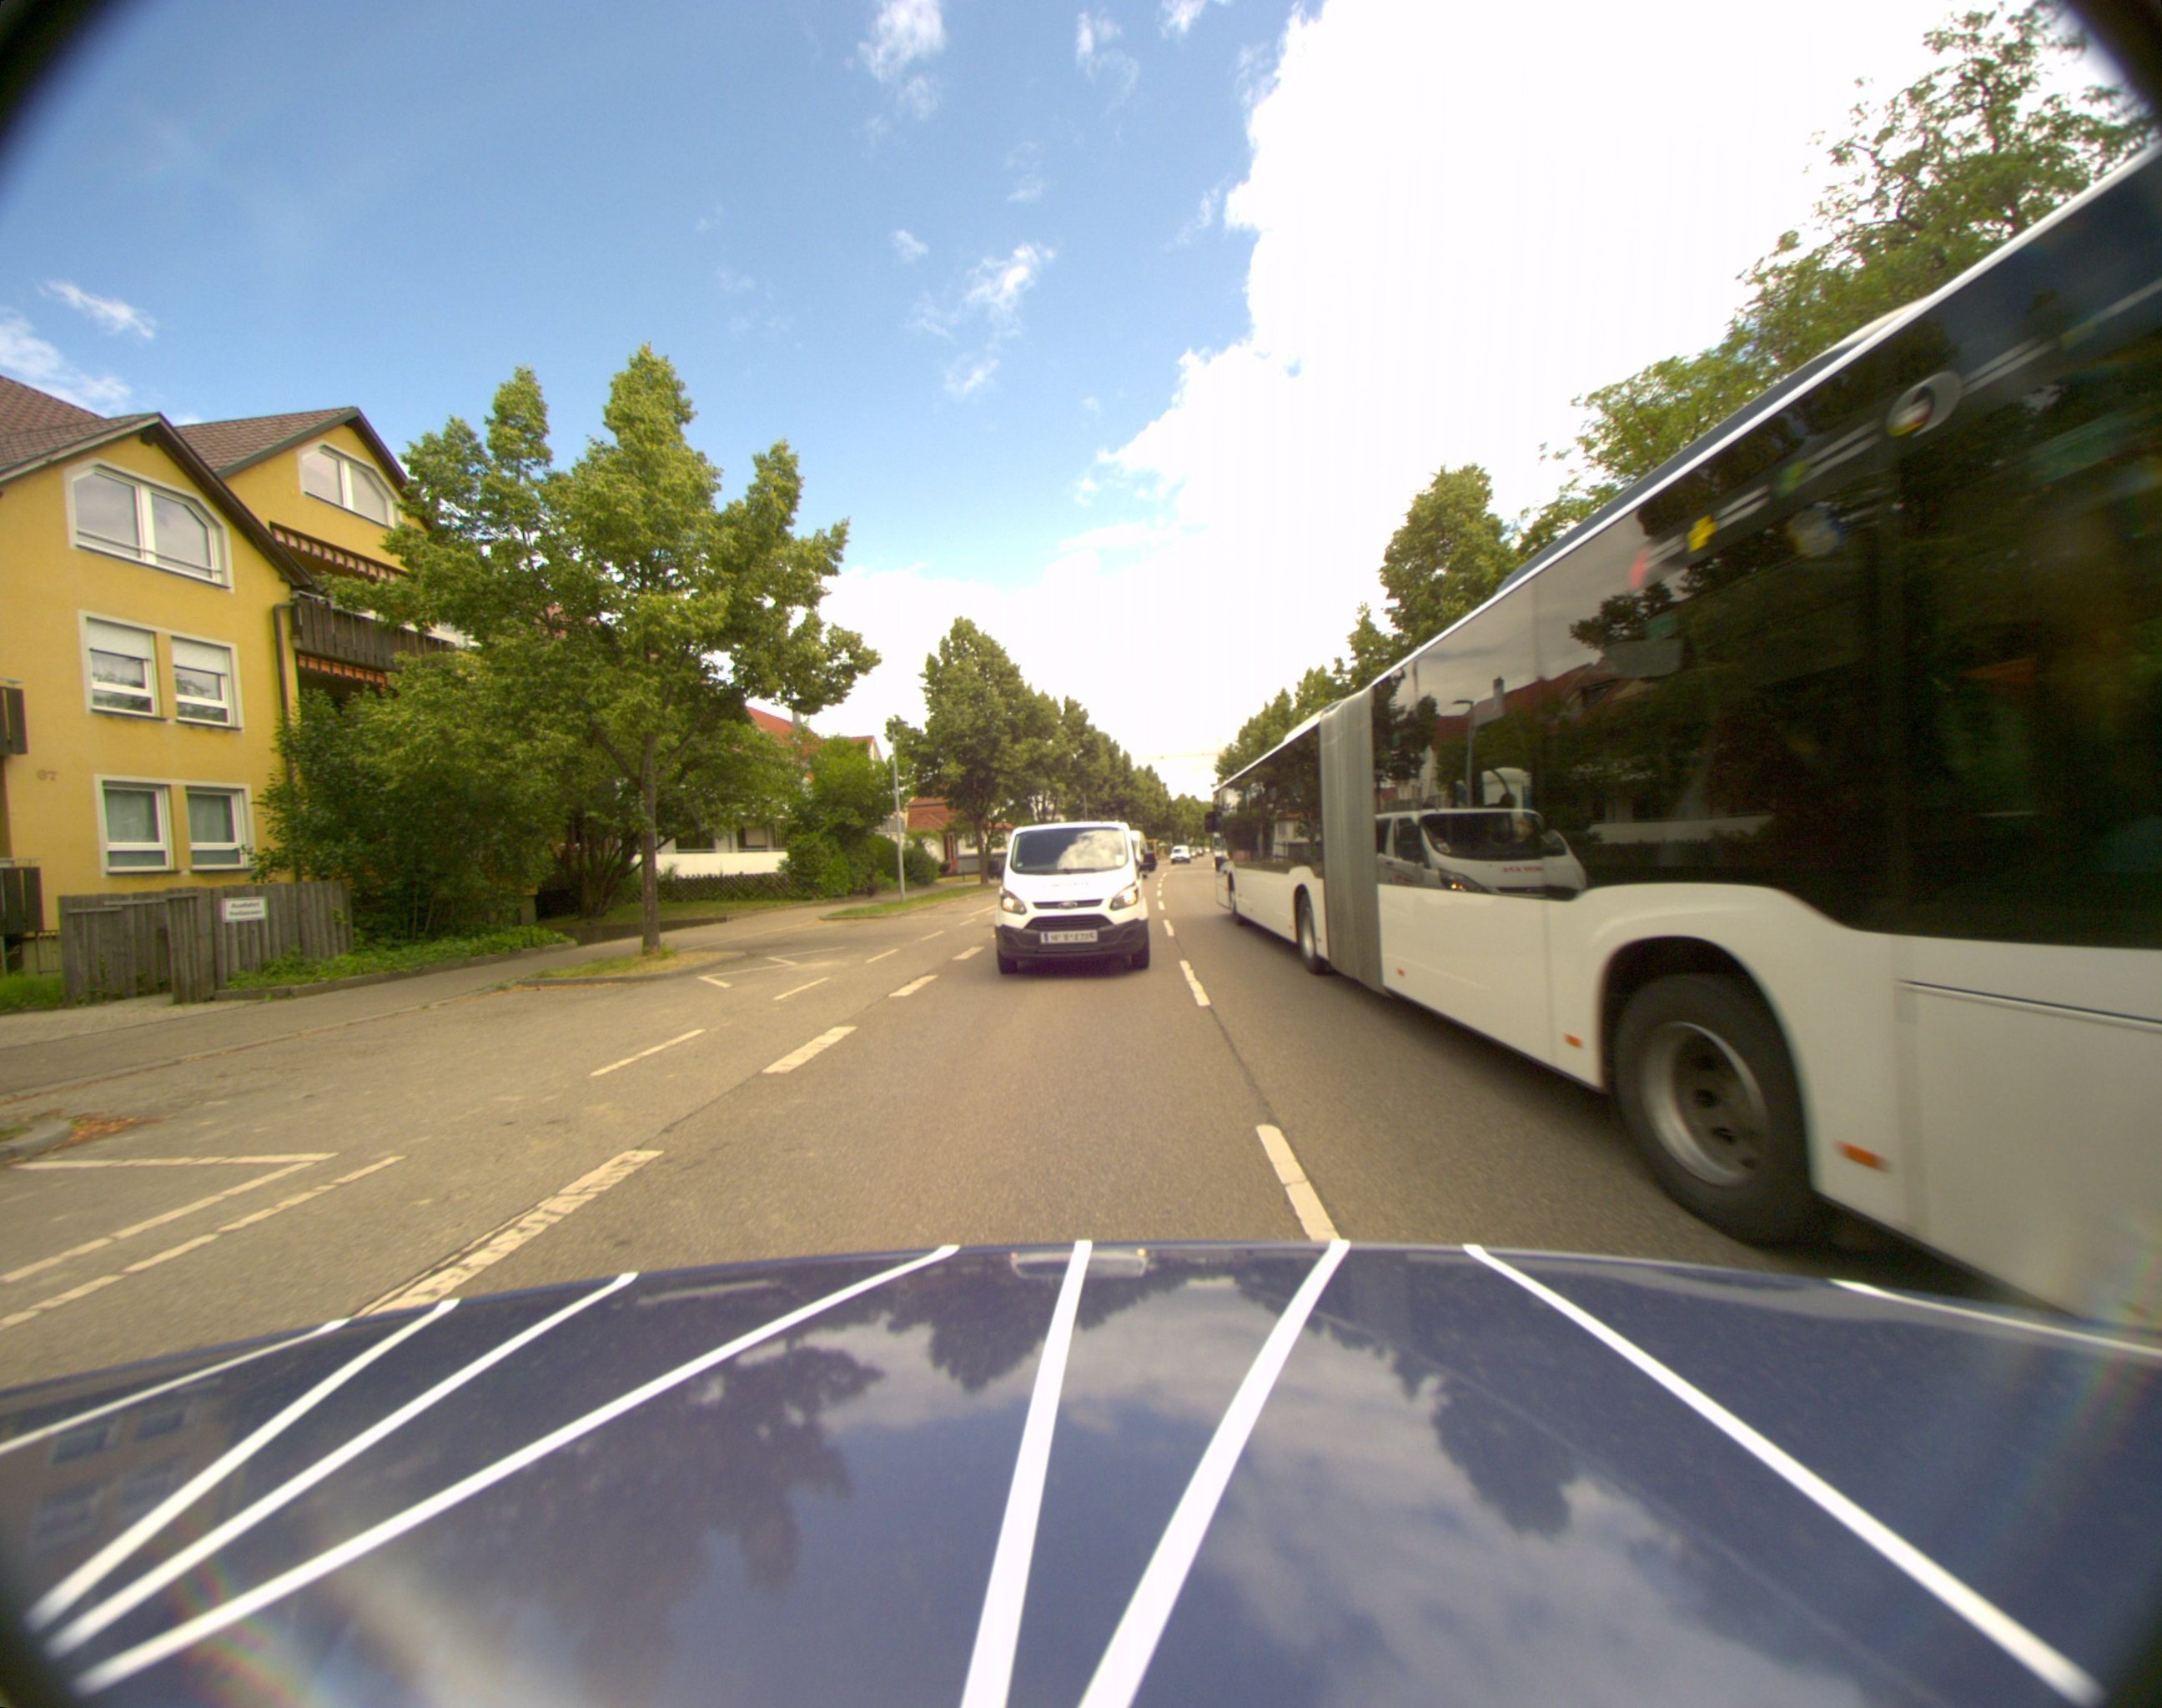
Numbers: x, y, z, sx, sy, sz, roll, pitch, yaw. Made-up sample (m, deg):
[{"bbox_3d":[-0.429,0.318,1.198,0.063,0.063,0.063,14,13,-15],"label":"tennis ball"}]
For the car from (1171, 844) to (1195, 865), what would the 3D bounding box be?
[{"bbox_3d":[10.297,-0.003,76.594,1.997,2.002,4.003,-2,0,12],"label":"car"}]

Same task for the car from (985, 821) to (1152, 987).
[{"bbox_3d":[-0.048,0.612,12.235,1.998,2.002,5.319,-3,0,2],"label":"car"}]

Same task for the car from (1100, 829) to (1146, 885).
[{"bbox_3d":[2.201,0.139,38.805,1.998,2.584,4.001,-4,0,5],"label":"car"}]

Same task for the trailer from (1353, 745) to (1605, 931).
[{"bbox_3d":[7.768,-0.289,15.956,2.377,2.946,7.014,-3,0,8],"label":"trailer"}]

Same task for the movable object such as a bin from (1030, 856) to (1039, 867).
[{"bbox_3d":[-4.348,0.701,71.093,0.540,1.052,0.519,-3,1,22],"label":"movable object such as a bin"}]

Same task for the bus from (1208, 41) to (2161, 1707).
[{"bbox_3d":[3.884,-0.086,8.352,2.811,3.269,18.045,-3,1,3],"label":"bus"}]

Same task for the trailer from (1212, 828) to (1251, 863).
[{"bbox_3d":[13.652,-0.822,68.524,2.638,2.862,6.877,-3,1,17],"label":"trailer"}]
